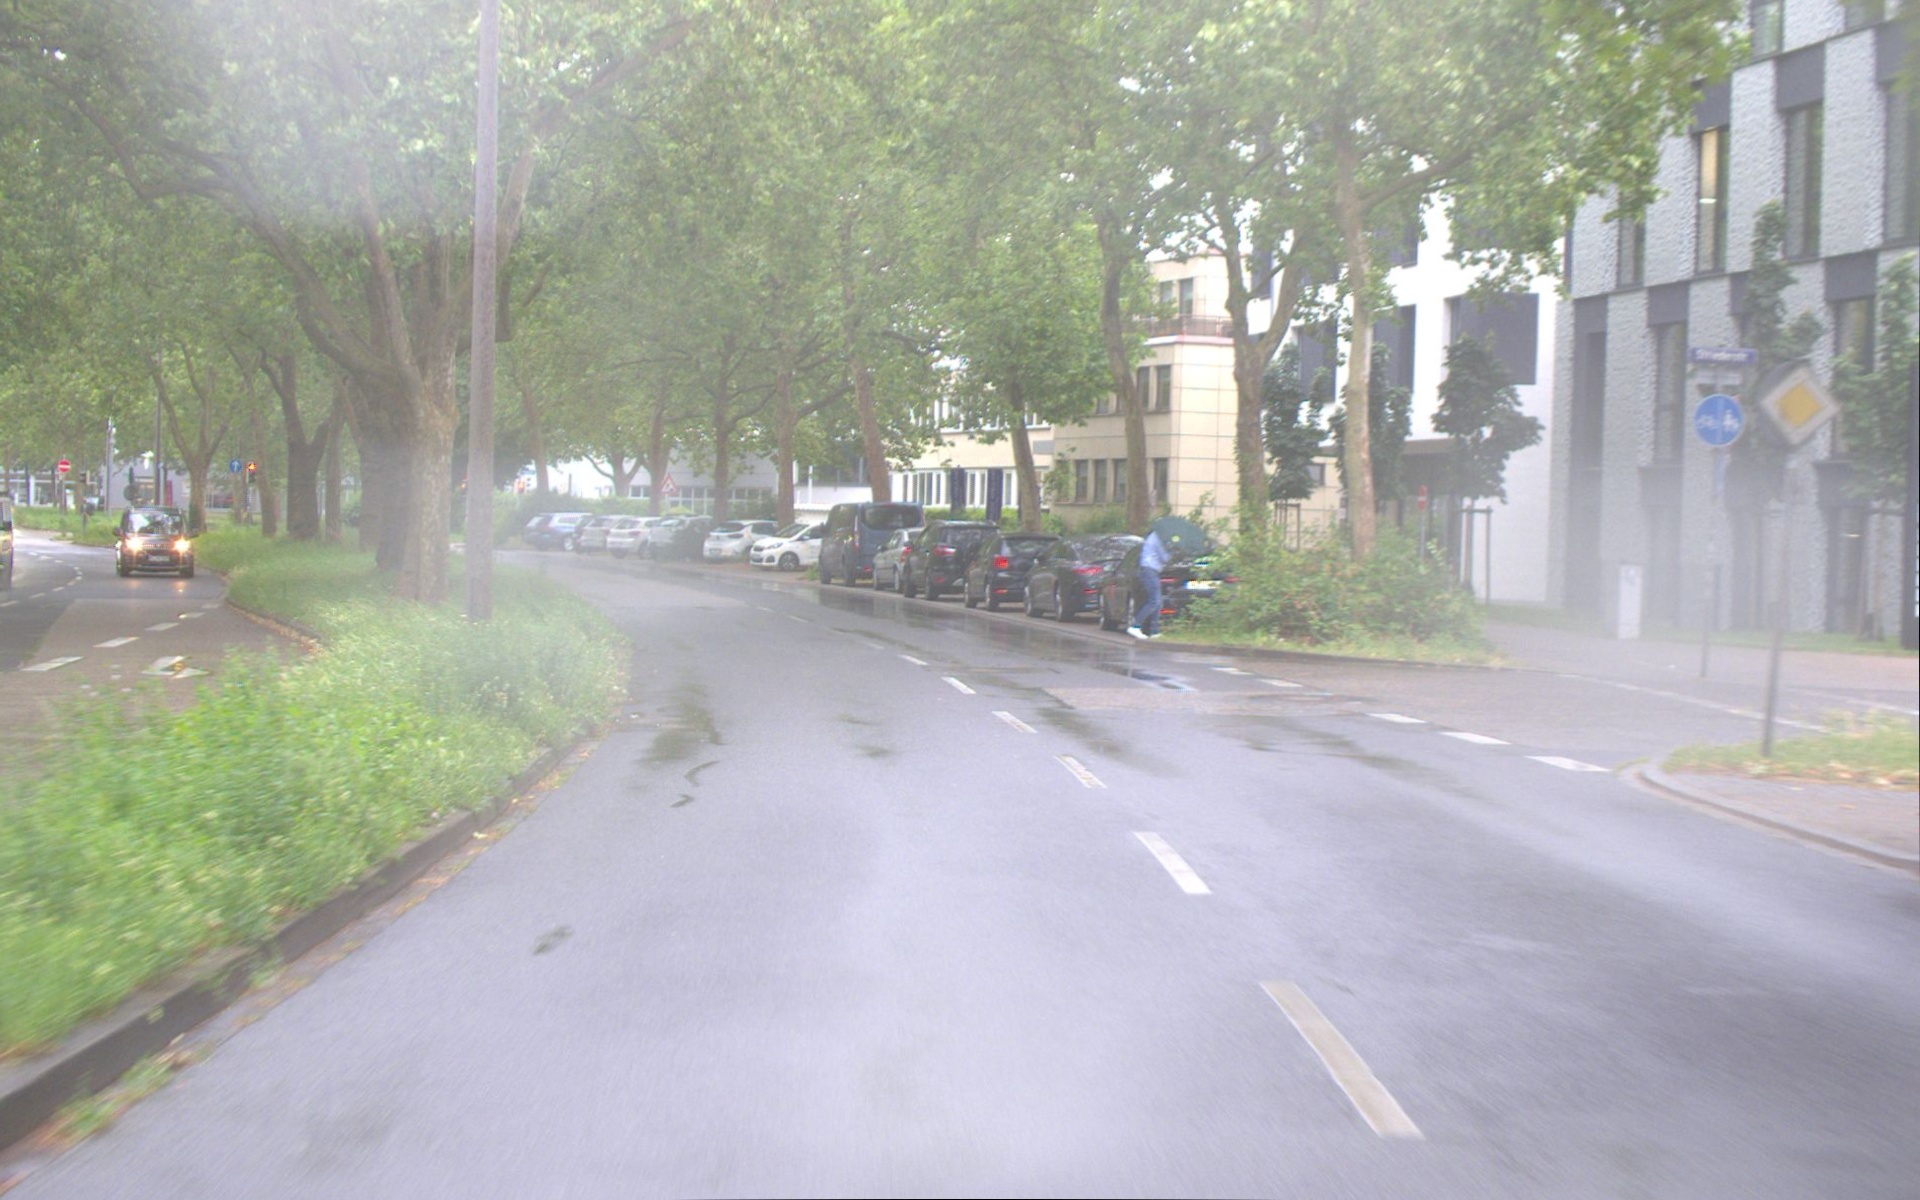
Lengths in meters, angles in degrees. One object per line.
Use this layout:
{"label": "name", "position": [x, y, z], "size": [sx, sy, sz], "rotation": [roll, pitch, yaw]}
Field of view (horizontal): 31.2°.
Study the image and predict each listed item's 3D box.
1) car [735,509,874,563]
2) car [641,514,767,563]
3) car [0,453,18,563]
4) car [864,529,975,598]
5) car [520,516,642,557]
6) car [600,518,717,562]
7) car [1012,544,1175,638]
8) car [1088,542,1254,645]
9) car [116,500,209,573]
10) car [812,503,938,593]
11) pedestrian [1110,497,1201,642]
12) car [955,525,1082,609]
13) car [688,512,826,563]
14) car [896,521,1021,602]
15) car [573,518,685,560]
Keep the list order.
{"label": "car", "position": [-4.543, -1.869, 100.458], "size": [3.634, 1.499, 1.749], "rotation": [0, 3, -30]}
{"label": "car", "position": [-8.444, -2.025, 113.696], "size": [1.748, 1.534, 4.028], "rotation": [3, 1, 43]}
{"label": "car", "position": [-20.974, -1.962, 72.229], "size": [2.029, 2.218, 5.436], "rotation": [1, 1, -13]}
{"label": "car", "position": [-0.942, -0.847, 77.472], "size": [1.743, 1.464, 4.307], "rotation": [1, 1, -11]}
{"label": "car", "position": [-14.605, -2.437, 132.569], "size": [4.483, 1.454, 1.748], "rotation": [1, 1, -42]}
{"label": "car", "position": [-10.392, -2.079, 118.556], "size": [3.682, 1.411, 1.748], "rotation": [1, 1, -42]}
{"label": "car", "position": [2.186, -0.180, 57.763], "size": [1.743, 1.423, 5.105], "rotation": [1, 1, -9]}
{"label": "car", "position": [3.089, -0.139, 51.266], "size": [1.743, 1.423, 4.861], "rotation": [-1, 1, -5]}
{"label": "car", "position": [-20.291, -1.630, 87.316], "size": [2.029, 1.730, 4.956], "rotation": [1, 1, -16]}
{"label": "car", "position": [-2.089, -1.273, 82.688], "size": [2.120, 2.021, 5.529], "rotation": [1, 1, -11]}
{"label": "pedestrian", "position": [2.751, -0.431, 48.342], "size": [0.897, 2.007, 0.833], "rotation": [1, 1, -44]}
{"label": "car", "position": [1.043, -0.634, 63.743], "size": [1.743, 1.471, 4.084], "rotation": [1, 1, -7]}
{"label": "car", "position": [-6.163, -1.898, 104.628], "size": [1.748, 1.423, 4.028], "rotation": [3, 1, 45]}
{"label": "car", "position": [-0.068, -0.809, 70.699], "size": [1.743, 1.561, 4.373], "rotation": [1, 1, -11]}
{"label": "car", "position": [-11.917, -2.192, 123.894], "size": [1.774, 1.411, 3.683], "rotation": [3, 1, 44]}
